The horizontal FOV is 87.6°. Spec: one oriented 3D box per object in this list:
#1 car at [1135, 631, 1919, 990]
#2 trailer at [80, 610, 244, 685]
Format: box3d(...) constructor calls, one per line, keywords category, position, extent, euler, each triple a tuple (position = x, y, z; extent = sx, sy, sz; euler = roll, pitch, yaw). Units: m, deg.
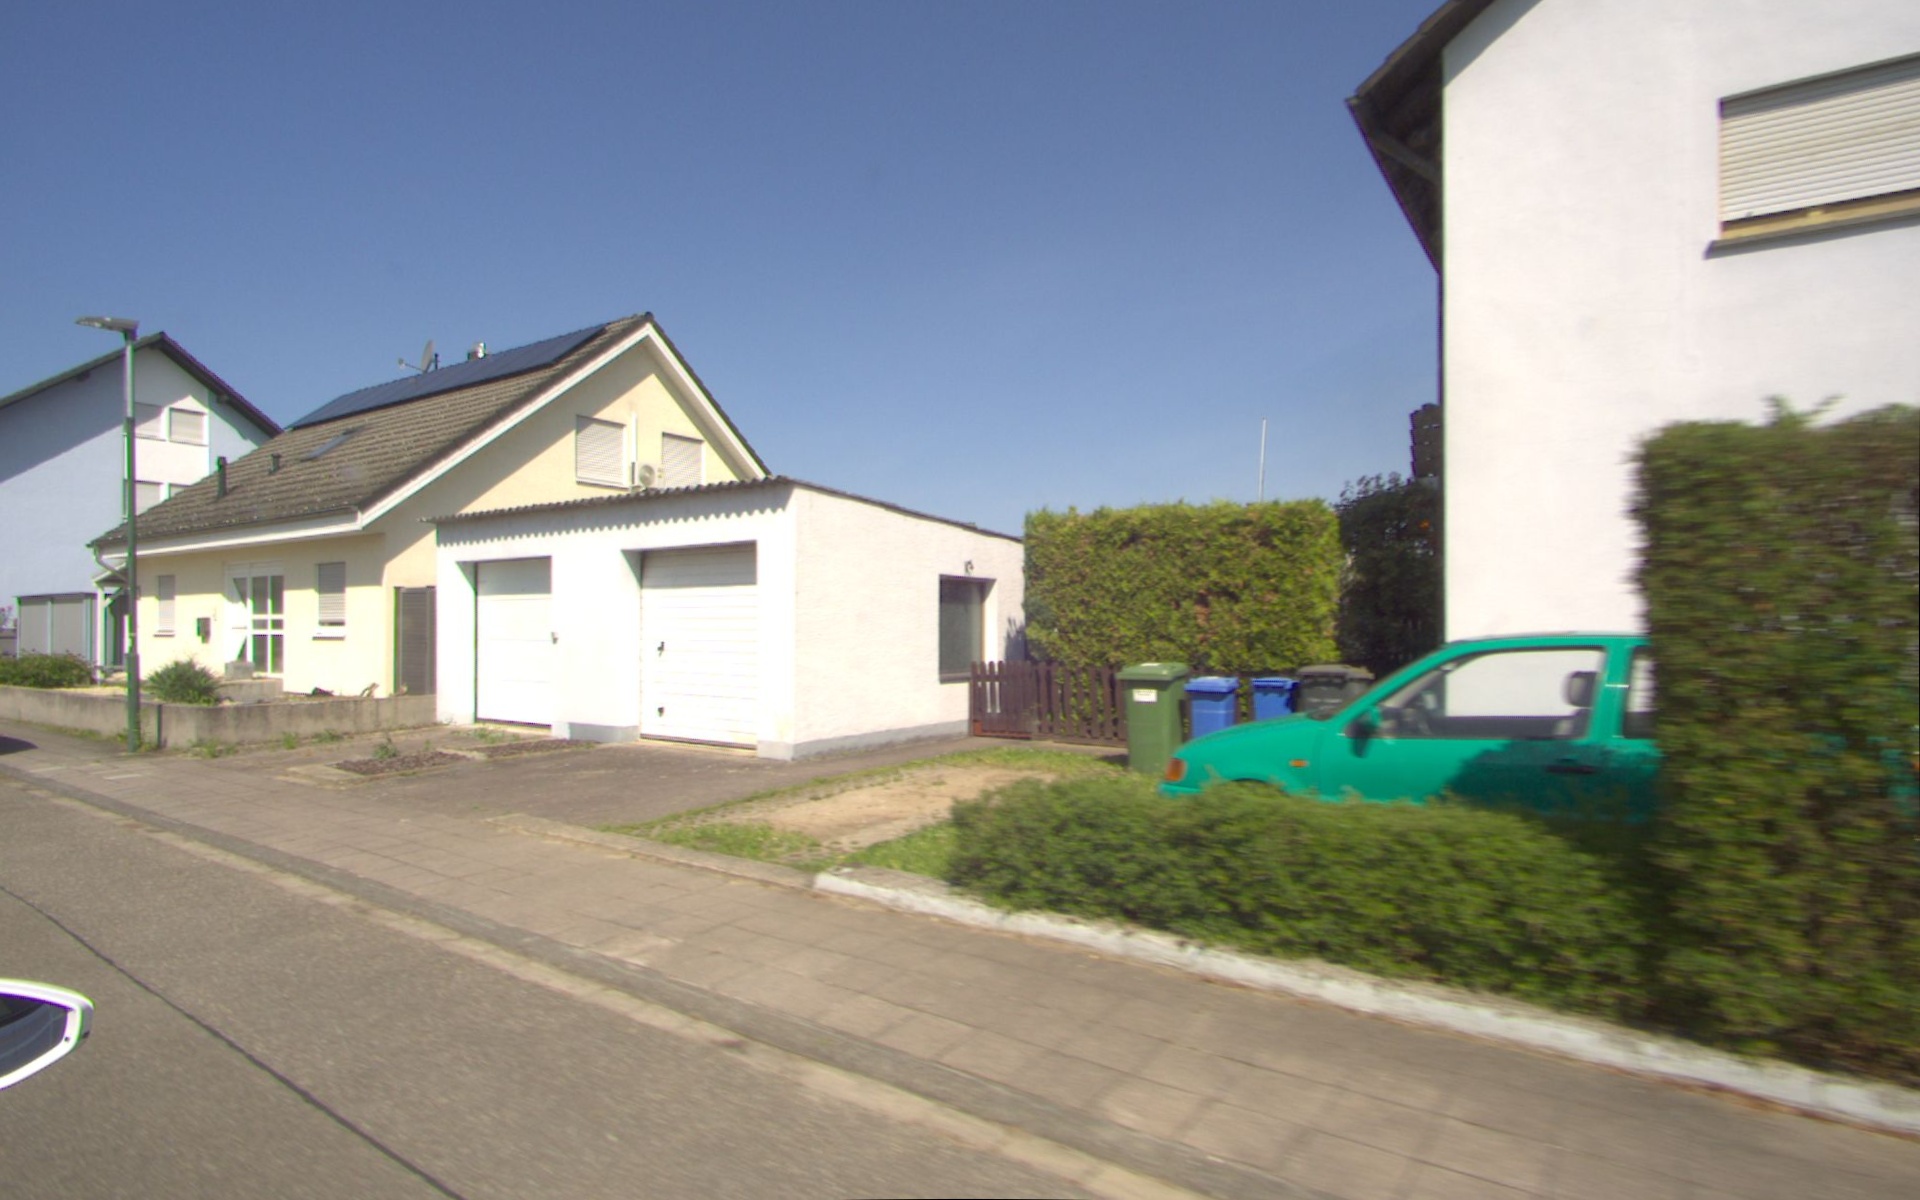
box3d(category="car", position=(2.852, 0.867, 5.394), extent=(3.478, 1.376, 1.491), euler=(-1, -1, 34))
box3d(category="trailer", position=(-19.269, 1.118, 24.253), extent=(1.383, 1.712, 2.827), euler=(0, -1, 35))
